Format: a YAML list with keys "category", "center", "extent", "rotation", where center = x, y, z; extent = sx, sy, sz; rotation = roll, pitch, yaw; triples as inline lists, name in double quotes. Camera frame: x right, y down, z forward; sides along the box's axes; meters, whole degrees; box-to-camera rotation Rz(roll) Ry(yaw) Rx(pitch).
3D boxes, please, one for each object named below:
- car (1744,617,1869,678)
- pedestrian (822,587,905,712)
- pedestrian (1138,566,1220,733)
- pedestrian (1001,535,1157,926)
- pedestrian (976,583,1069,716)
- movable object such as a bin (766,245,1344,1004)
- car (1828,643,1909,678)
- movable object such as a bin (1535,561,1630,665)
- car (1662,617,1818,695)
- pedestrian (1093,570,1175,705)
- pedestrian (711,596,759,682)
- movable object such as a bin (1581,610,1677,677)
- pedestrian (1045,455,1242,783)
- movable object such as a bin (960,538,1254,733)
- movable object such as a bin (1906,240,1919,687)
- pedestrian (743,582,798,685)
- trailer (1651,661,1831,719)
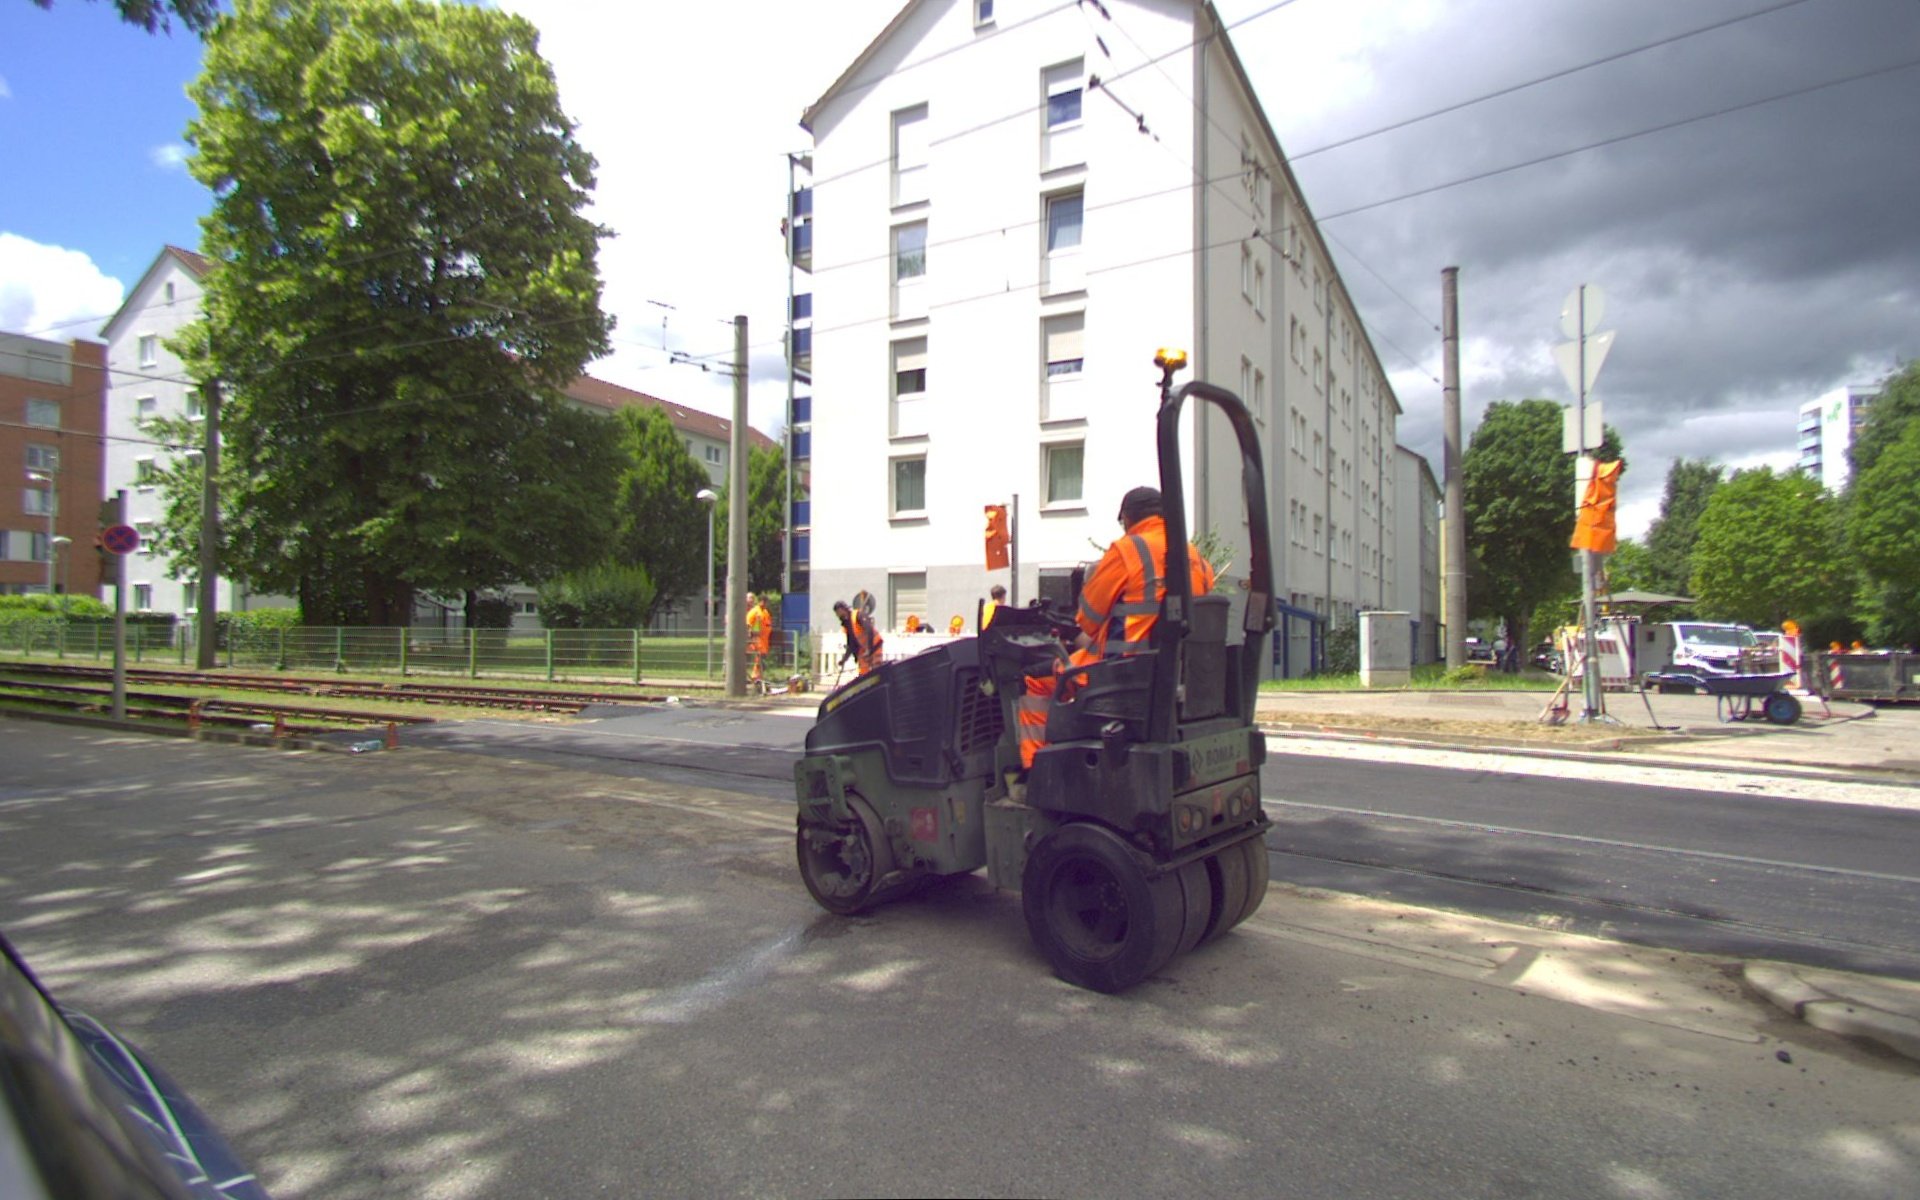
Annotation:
- category: "car"
  center: [30.901, 1.733, 37.178]
  extent: [1.989, 2.029, 5.858]
  rotation: [-1, -3, 25]
- category: "pedestrian"
  center: [-1.391, 0.701, 14.557]
  extent: [0.916, 1.729, 0.745]
  rotation: [-2, -2, 34]
- category: "pedestrian"
  center: [2.544, 0.564, 11.722]
  extent: [0.764, 1.853, 0.777]
  rotation: [-1, -2, 26]
- category: "pedestrian"
  center: [0.560, 0.569, 4.738]
  extent: [0.557, 1.694, 0.465]
  rotation: [-1, 0, 31]
- category: "pedestrian"
  center: [0.853, 0.663, 13.773]
  extent: [0.918, 1.729, 0.848]
  rotation: [-2, -2, 39]
- category: "movable object such as a bin"
  center: [0.367, 0.105, 4.751]
  extent: [2.360, 2.613, 1.303]
  rotation: [-2, -2, 39]
- category: "car"
  center: [42.062, 2.757, 46.948]
  extent: [1.668, 1.516, 3.965]
  rotation: [0, -2, 25]
- category: "movable object such as a bin"
  center: [29.153, 0.696, 47.673]
  extent: [2.808, 4.570, 6.160]
  rotation: [-1, -3, 23]
- category: "car"
  center: [20.567, 1.464, 26.923]
  extent: [1.985, 1.896, 4.314]
  rotation: [0, -3, 20]
- category: "pedestrian"
  center: [2.510, 0.535, 14.536]
  extent: [0.870, 1.838, 1.086]
  rotation: [-1, -2, 28]
- category: "pedestrian"
  center: [-4.537, 0.772, 20.431]
  extent: [0.867, 1.696, 0.668]
  rotation: [0, -1, -5]
- category: "movable object such as a bin"
  center: [25.462, 1.656, 38.680]
  extent: [1.983, 2.428, 3.976]
  rotation: [0, -3, 18]
- category: "pedestrian"
  center: [0.758, 0.082, 4.187]
  extent: [0.617, 1.226, 0.544]
  rotation: [-2, -3, 39]
- category: "movable object such as a bin"
  center: [1.758, 0.429, 12.272]
  extent: [2.963, 2.029, 1.975]
  rotation: [-2, -3, 38]
- category: "movable object such as a bin"
  center: [15.369, -1.271, 12.869]
  extent: [8.884, 5.527, 2.828]
  rotation: [2, -3, -34]
- category: "pedestrian"
  center: [-3.615, 0.637, 19.318]
  extent: [0.870, 1.922, 0.665]
  rotation: [0, -1, 8]
- category: "trailer"
  center: [9.567, 1.081, 12.437]
  extent: [0.784, 0.621, 1.601]
  rotation: [3, -3, -38]
